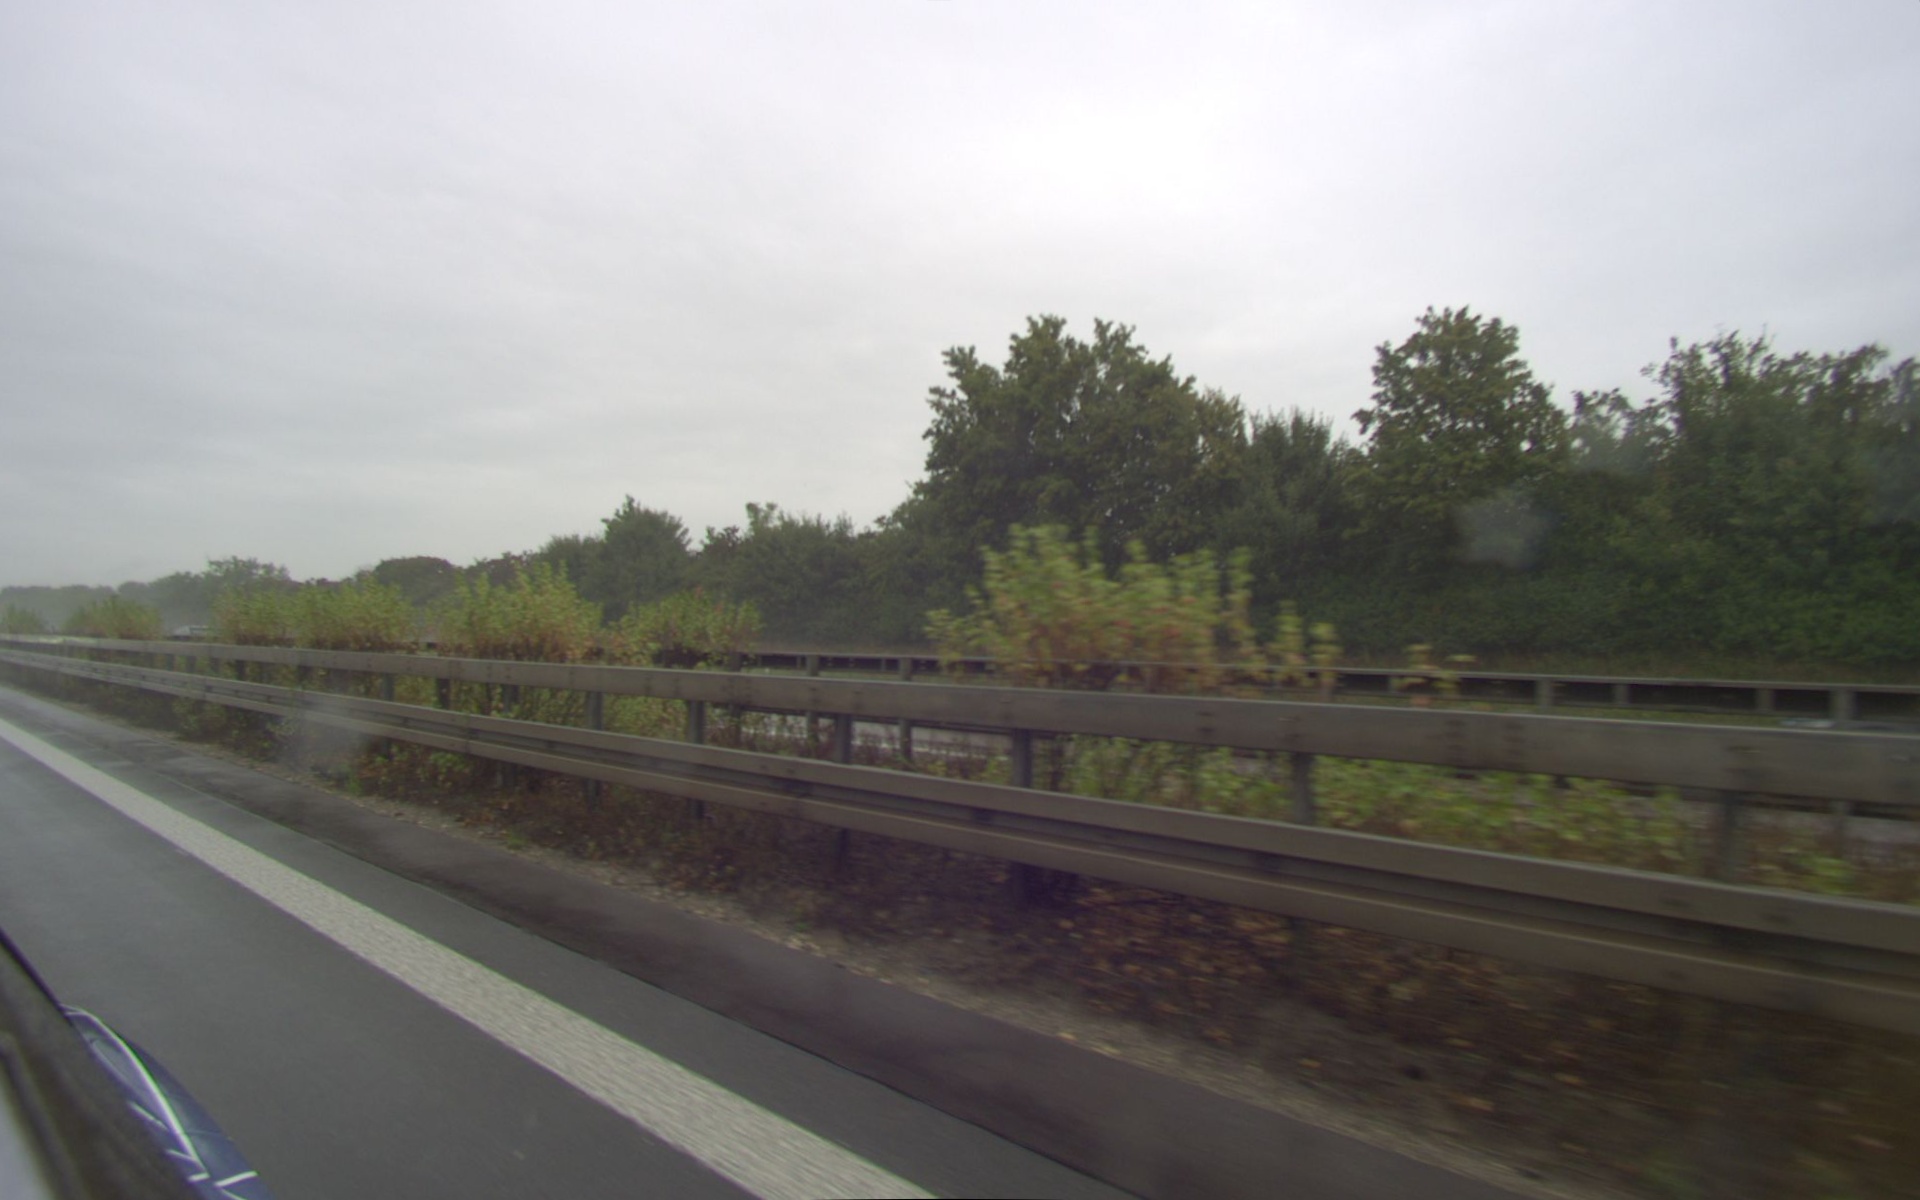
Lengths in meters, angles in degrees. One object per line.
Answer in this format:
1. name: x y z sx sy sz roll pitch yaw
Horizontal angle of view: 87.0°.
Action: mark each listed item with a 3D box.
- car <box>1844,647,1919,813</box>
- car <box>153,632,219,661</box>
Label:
1. car: 11.461 1.242 9.335 4.901 1.524 2.136 -2 -1 41
2. car: -43.593 2.614 56.959 5.431 1.524 1.907 -2 -1 41
